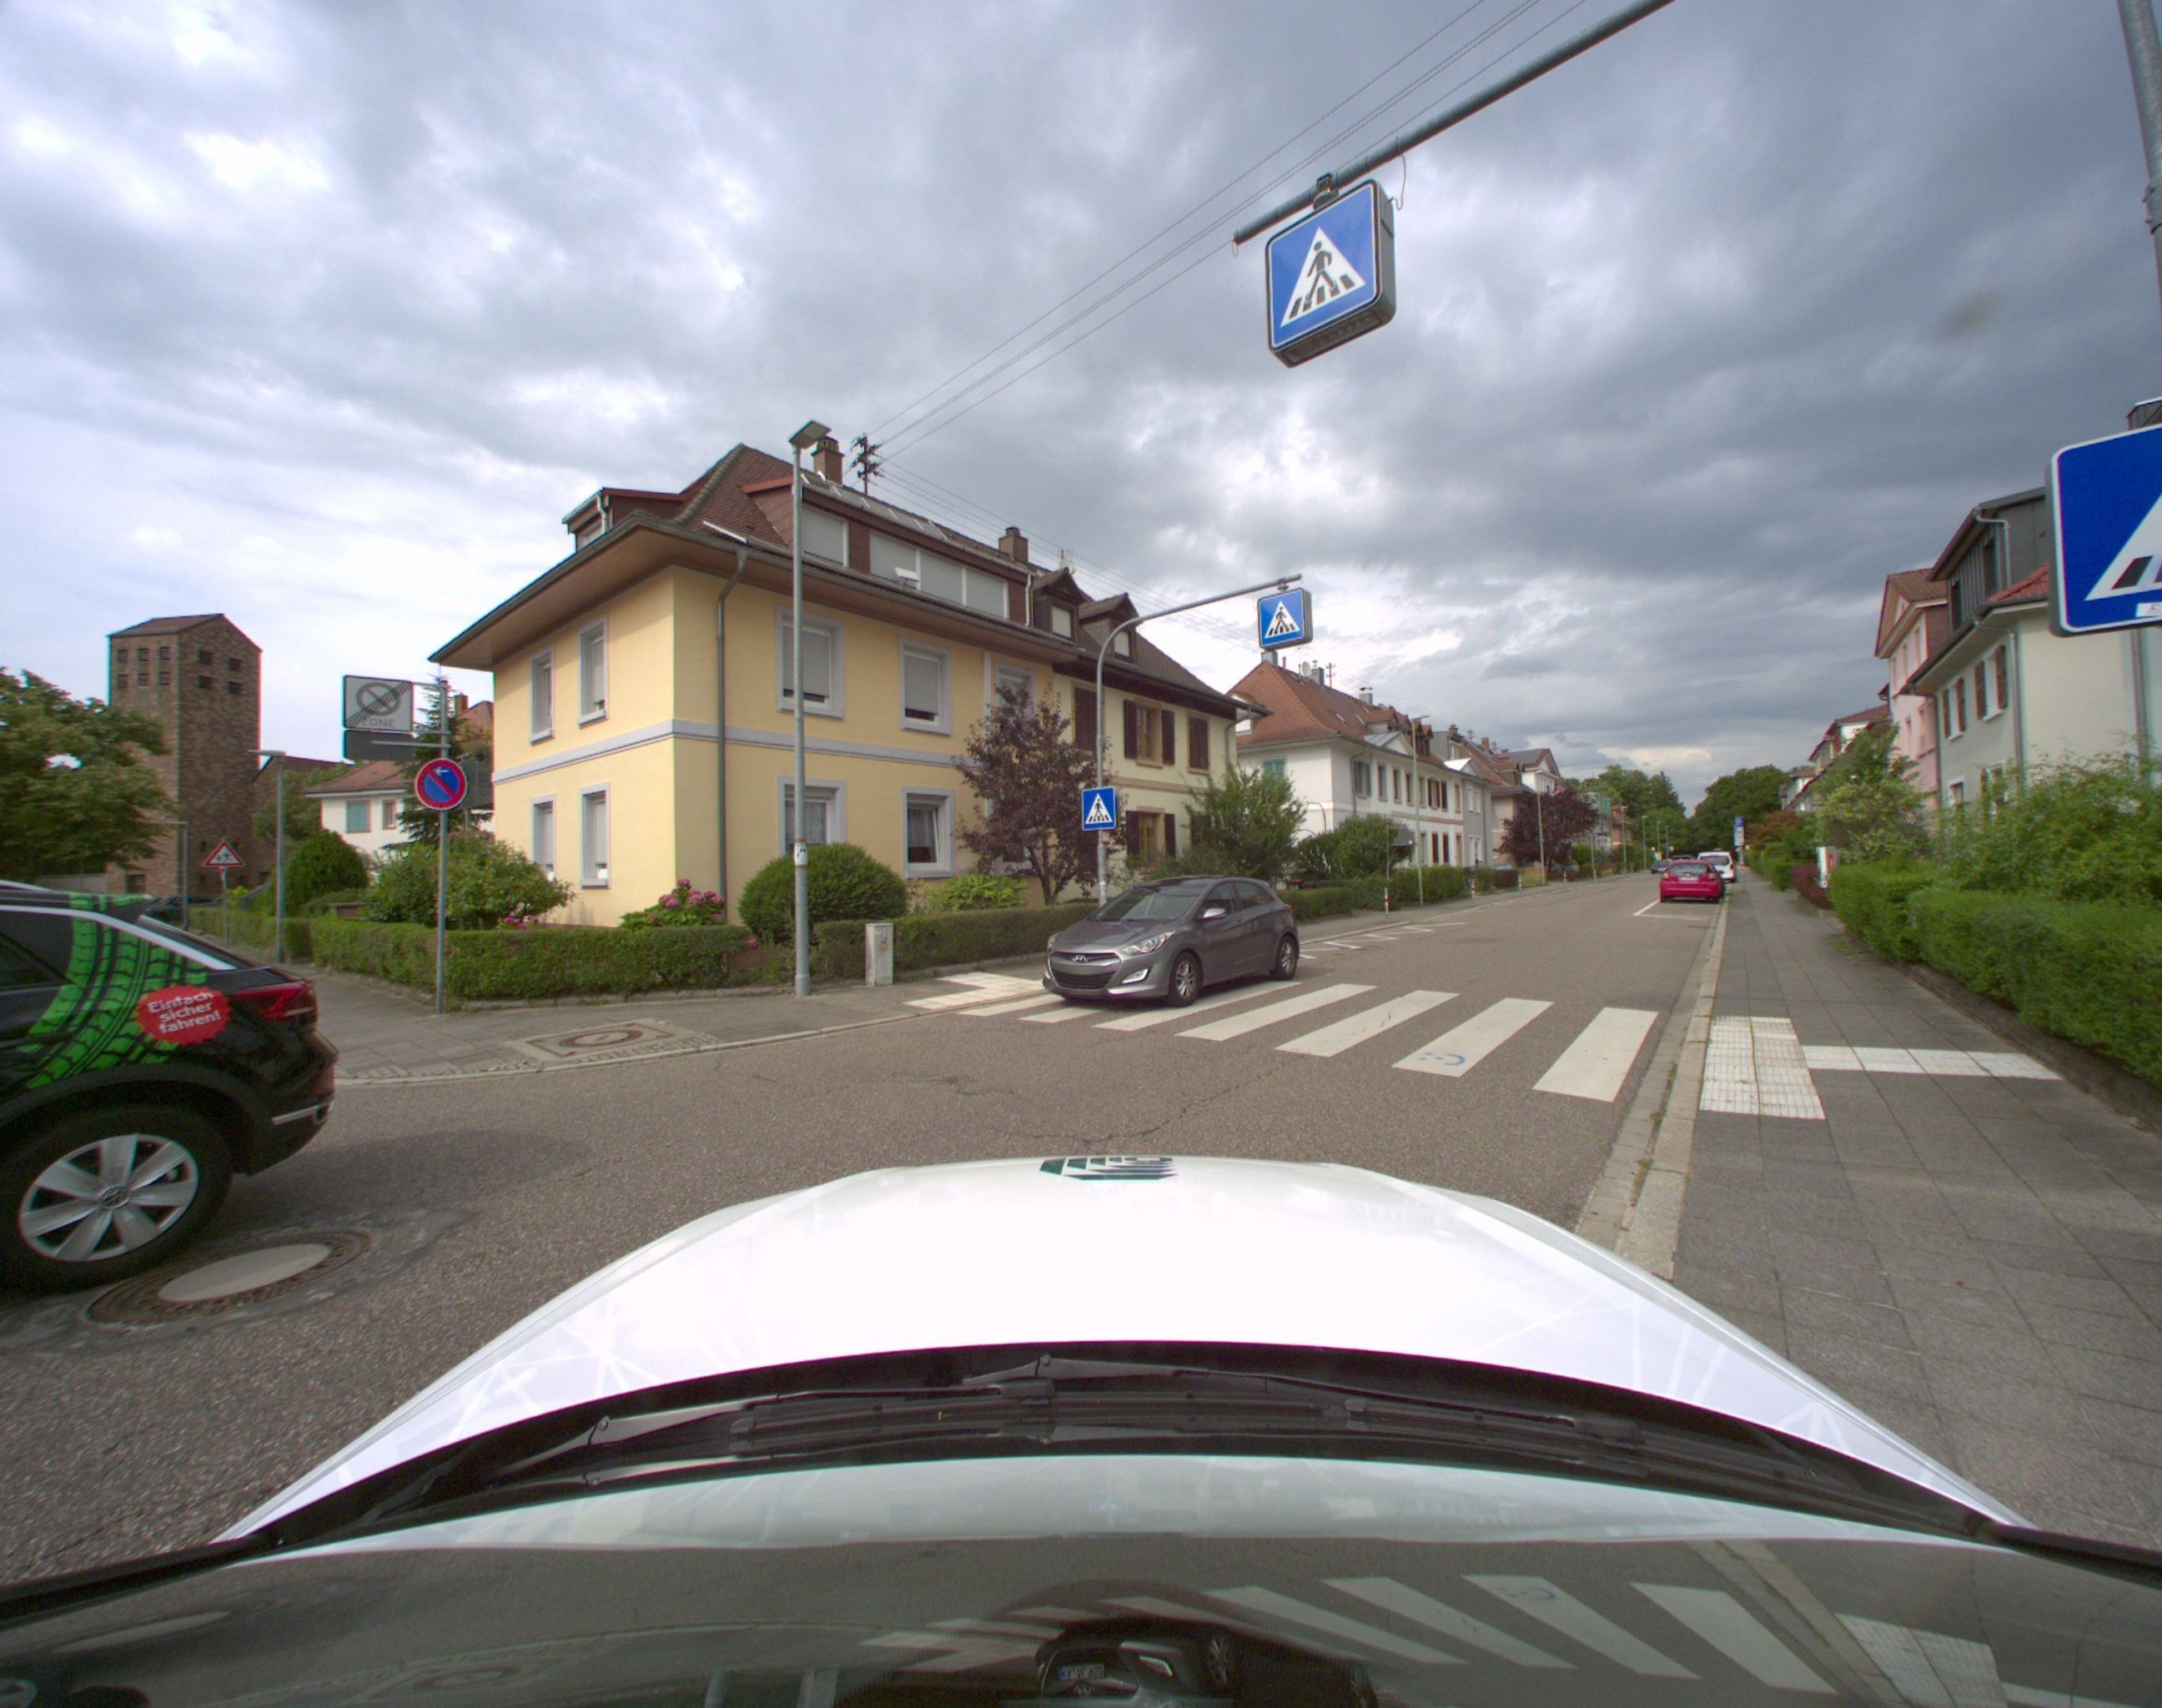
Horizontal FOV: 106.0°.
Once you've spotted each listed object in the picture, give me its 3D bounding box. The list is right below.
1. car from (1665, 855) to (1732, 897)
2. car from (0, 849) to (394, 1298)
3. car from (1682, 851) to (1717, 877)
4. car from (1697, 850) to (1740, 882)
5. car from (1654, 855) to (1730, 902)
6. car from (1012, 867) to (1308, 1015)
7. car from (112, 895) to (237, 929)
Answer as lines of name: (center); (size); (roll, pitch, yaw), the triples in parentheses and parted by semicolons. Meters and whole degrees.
car: (25.336, 0.872, 33.369); (1.974, 1.574, 4.025); (-3, -2, 39)
car: (-4.926, 0.755, 2.376); (1.799, 1.520, 4.067); (-2, -2, 29)
car: (47.693, 0.798, 62.739); (1.974, 1.833, 4.024); (-1, -3, 39)
car: (40.074, 0.738, 51.144); (1.974, 1.904, 4.025); (-3, -2, 39)
car: (22.067, 0.863, 29.355); (1.974, 1.574, 4.025); (-3, -2, 39)
car: (1.204, 0.956, 10.597); (1.830, 1.481, 4.067); (-3, -2, 39)
car: (-46.998, 2.959, 42.289); (1.662, 1.464, 4.254); (-1, -1, 39)
